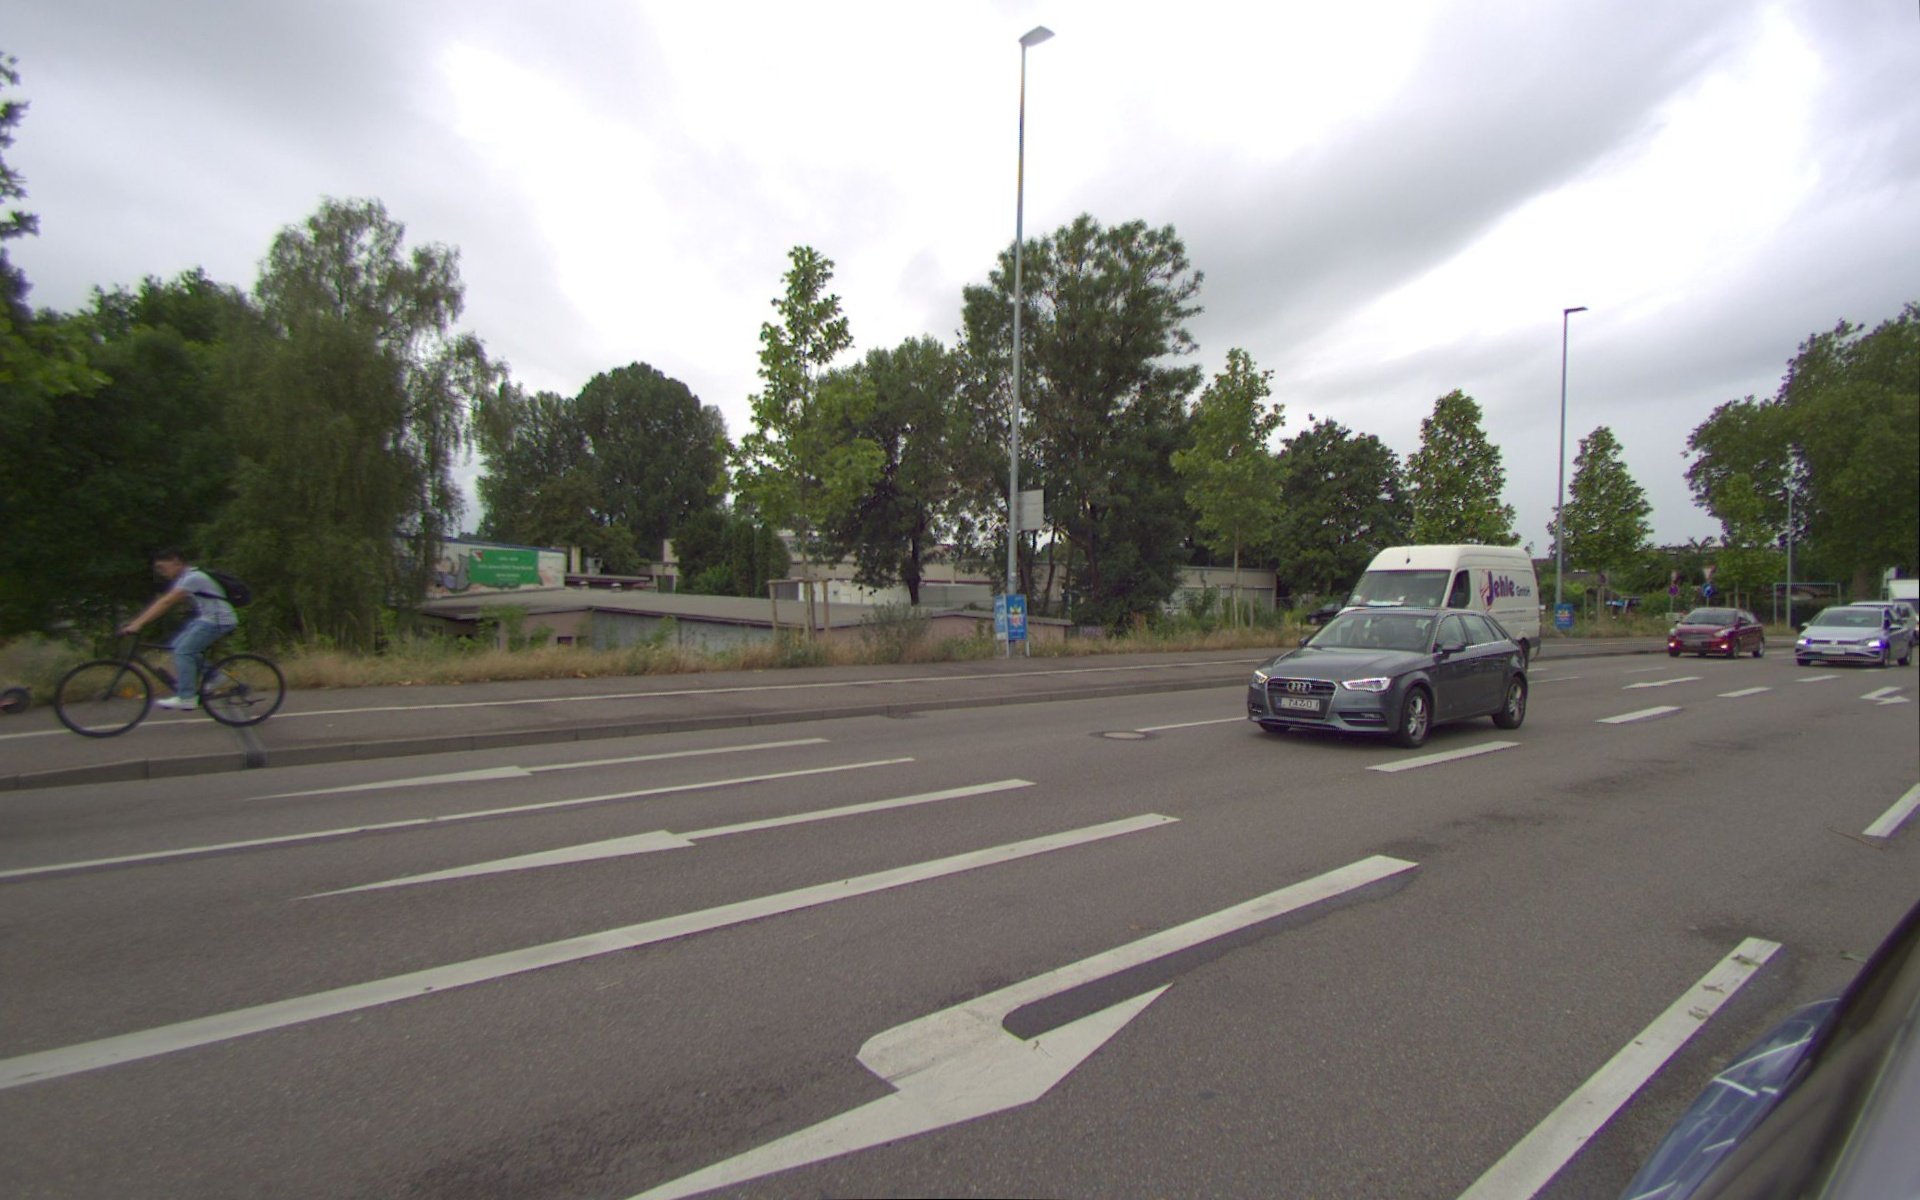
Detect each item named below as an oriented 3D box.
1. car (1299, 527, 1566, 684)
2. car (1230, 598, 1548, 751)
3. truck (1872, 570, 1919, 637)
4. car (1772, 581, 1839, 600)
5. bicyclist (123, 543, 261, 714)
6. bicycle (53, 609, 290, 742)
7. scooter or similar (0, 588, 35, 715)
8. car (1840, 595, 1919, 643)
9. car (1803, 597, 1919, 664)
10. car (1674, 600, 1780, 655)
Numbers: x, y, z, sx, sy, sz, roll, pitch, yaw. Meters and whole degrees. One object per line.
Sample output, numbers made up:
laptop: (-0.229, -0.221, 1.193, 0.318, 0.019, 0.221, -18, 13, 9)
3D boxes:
car: (9.503, 0.106, 20.113, 5.794, 2.659, 2.661, 1, 0, -40)
car: (4.971, 0.710, 11.478, 4.005, 1.419, 1.741, 1, 0, -41)
truck: (45.177, 0.186, 47.170, 6.422, 2.960, 2.827, 1, 0, -37)
car: (68.310, -0.772, 81.768, 1.781, 1.527, 3.990, -1, 1, -44)
bicyclist: (-7.097, 0.230, 9.357, 0.952, 1.470, 0.691, 0, 4, -43)
bicycle: (-7.213, 0.648, 9.310, 1.680, 1.058, 0.548, -1, 4, -43)
scooter or similar: (-9.779, 0.515, 9.864, 1.027, 1.229, 0.376, -2, 3, -33)
car: (39.212, 0.761, 42.661, 5.024, 1.904, 2.100, 1, 0, -36)
car: (23.508, 0.736, 26.201, 4.126, 1.572, 1.859, 0, 0, -40)
car: (23.190, 0.793, 30.560, 3.702, 1.581, 1.655, 1, 0, -38)
